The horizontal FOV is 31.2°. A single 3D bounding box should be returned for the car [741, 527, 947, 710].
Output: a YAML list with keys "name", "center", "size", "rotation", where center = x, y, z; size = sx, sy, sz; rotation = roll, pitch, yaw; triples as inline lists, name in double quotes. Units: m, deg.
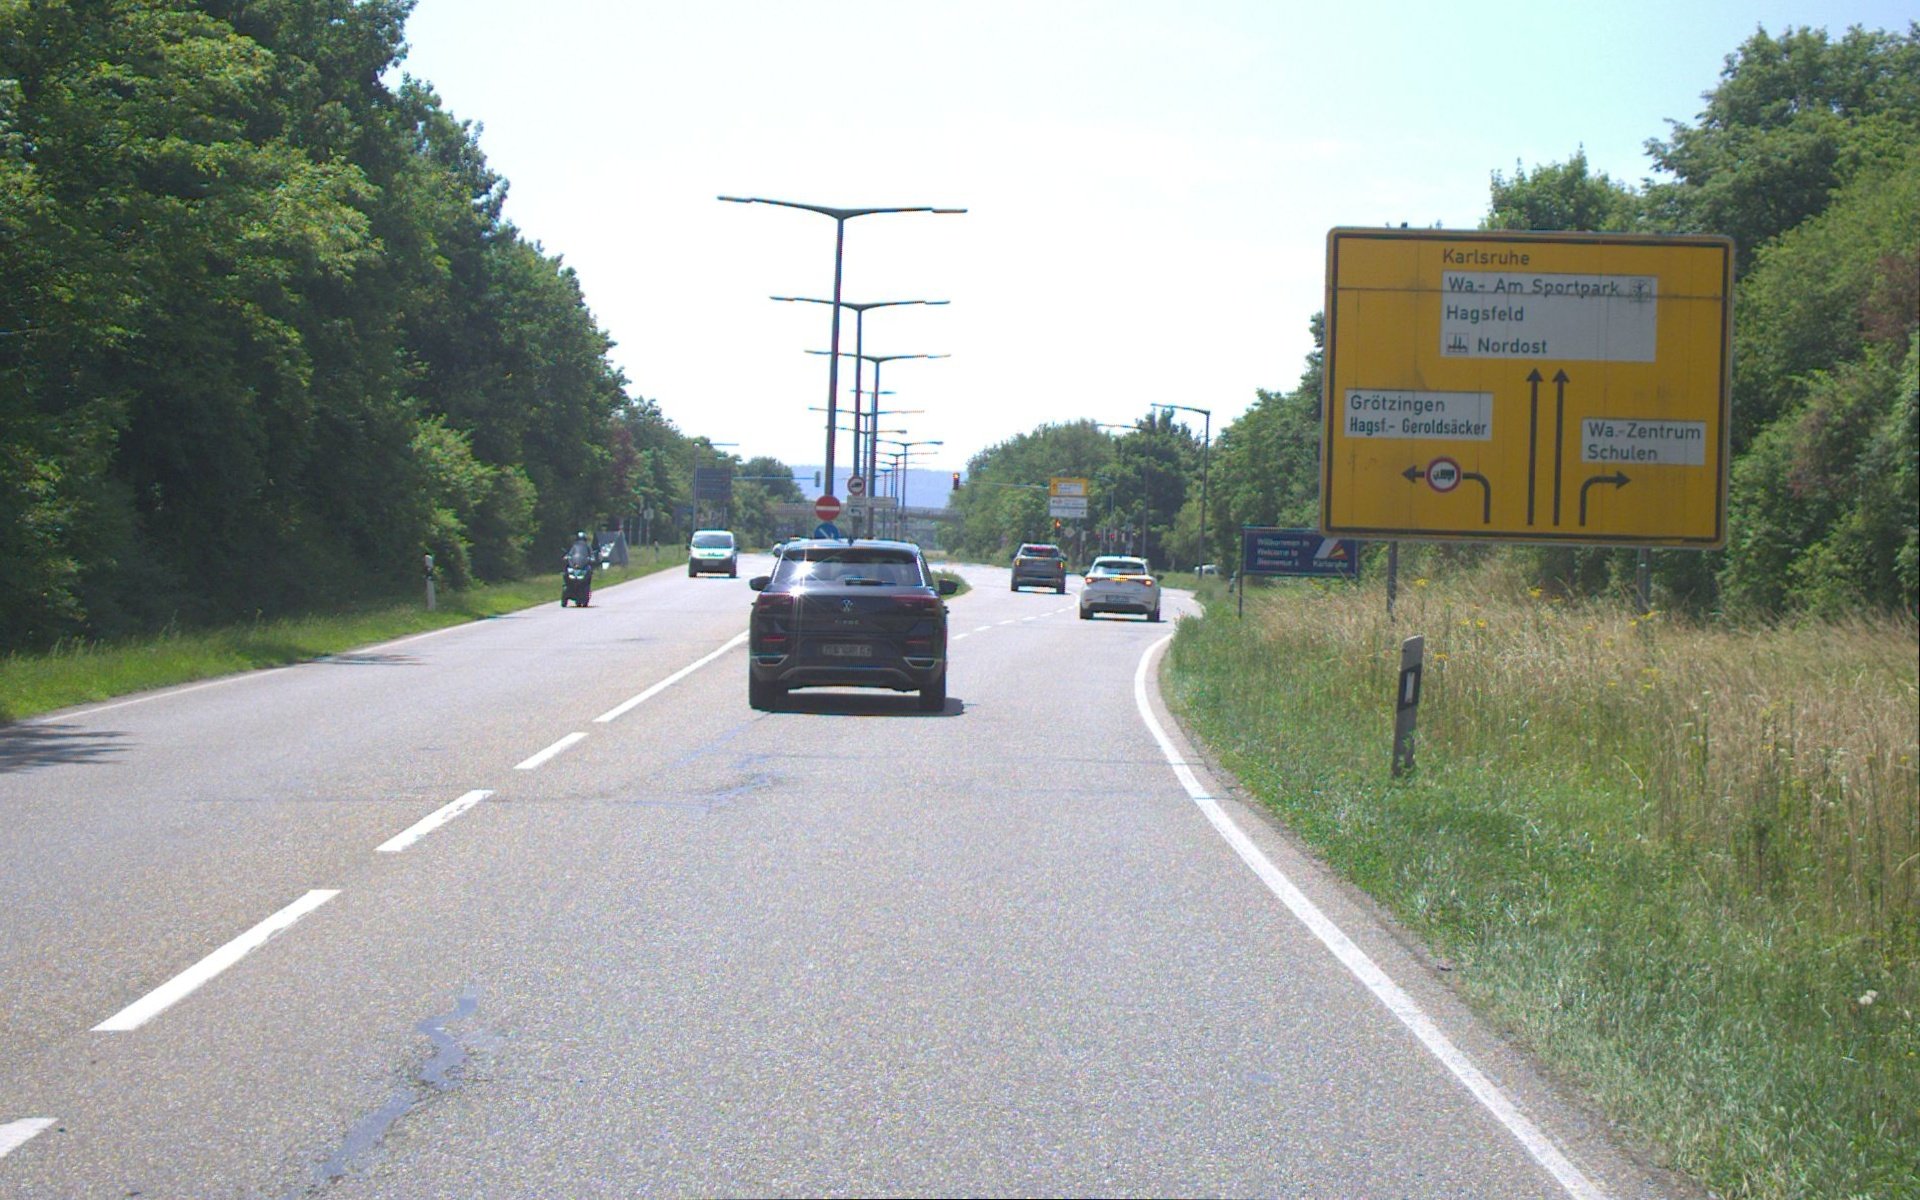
- name: "car"
  center: [-1.110, 0.138, 32.071]
  size: [1.755, 1.551, 4.001]
  rotation: [2, 1, -3]

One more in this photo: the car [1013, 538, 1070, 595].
- name: "car"
  center: [2.901, -1.215, 122.479]
  size: [1.755, 1.922, 4.000]
  rotation: [3, 1, -1]

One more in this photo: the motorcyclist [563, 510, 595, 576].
- name: "motorcyclist"
  center: [-8.587, -1.280, 77.491]
  size: [0.670, 1.470, 0.814]
  rotation: [1, 1, -4]

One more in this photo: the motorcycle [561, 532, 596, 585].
- name: "motorcycle"
  center: [-8.613, -0.939, 77.674]
  size: [0.670, 1.170, 2.232]
  rotation: [1, 1, -4]

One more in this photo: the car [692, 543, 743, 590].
- name: "car"
  center: [-8.950, -1.251, 127.231]
  size: [1.731, 1.682, 4.096]
  rotation: [0, 1, -2]

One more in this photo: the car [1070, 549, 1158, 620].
- name: "car"
  center: [3.491, -0.380, 78.697]
  size: [1.797, 1.577, 4.000]
  rotation: [0, 1, 0]
